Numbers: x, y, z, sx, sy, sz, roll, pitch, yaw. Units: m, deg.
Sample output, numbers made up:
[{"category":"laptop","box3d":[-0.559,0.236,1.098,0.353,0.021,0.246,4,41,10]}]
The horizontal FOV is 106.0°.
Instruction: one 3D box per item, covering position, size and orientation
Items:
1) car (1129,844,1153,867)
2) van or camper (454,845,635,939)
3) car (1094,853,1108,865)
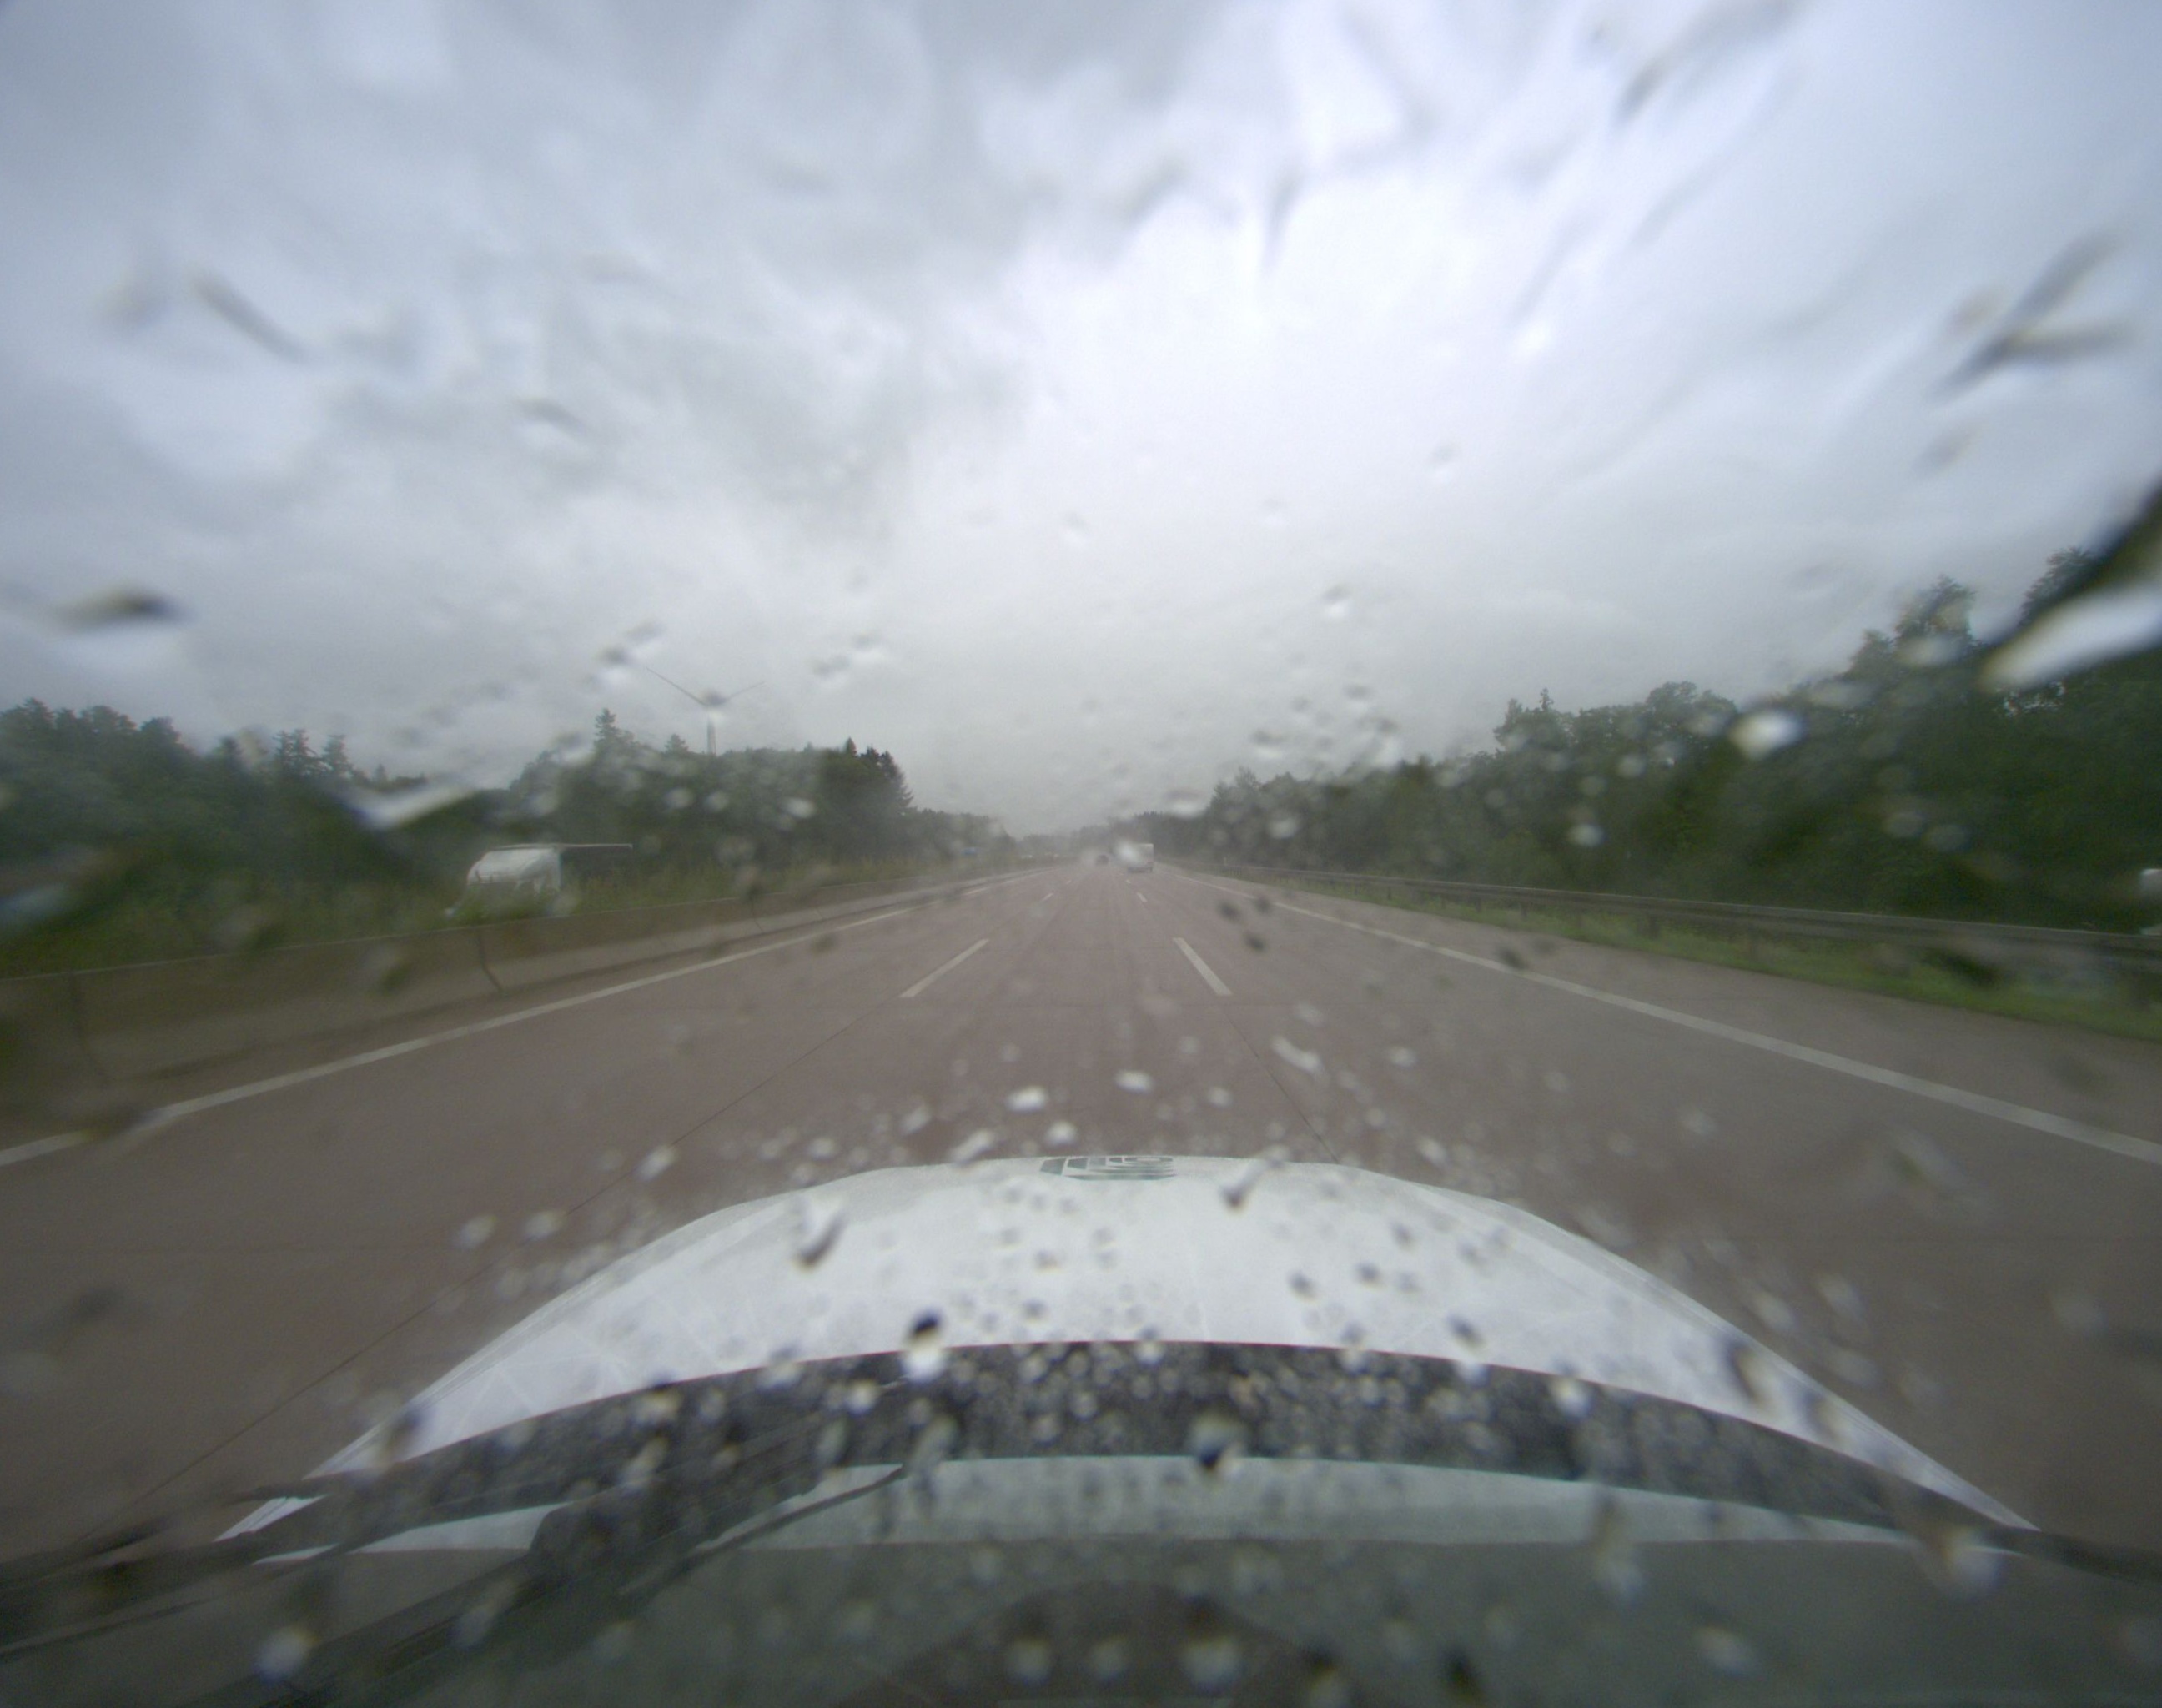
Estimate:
[{"category":"car","box3d":[5.264,0.124,72.269,2.049,2.000,4.102,-1,0,3]},{"category":"van or camper","box3d":[-18.653,1.221,28.745,2.470,3.000,5.441,-1,0,5]},{"category":"car","box3d":[2.828,0.700,114.368,1.929,1.729,4.133,-1,0,3]}]
